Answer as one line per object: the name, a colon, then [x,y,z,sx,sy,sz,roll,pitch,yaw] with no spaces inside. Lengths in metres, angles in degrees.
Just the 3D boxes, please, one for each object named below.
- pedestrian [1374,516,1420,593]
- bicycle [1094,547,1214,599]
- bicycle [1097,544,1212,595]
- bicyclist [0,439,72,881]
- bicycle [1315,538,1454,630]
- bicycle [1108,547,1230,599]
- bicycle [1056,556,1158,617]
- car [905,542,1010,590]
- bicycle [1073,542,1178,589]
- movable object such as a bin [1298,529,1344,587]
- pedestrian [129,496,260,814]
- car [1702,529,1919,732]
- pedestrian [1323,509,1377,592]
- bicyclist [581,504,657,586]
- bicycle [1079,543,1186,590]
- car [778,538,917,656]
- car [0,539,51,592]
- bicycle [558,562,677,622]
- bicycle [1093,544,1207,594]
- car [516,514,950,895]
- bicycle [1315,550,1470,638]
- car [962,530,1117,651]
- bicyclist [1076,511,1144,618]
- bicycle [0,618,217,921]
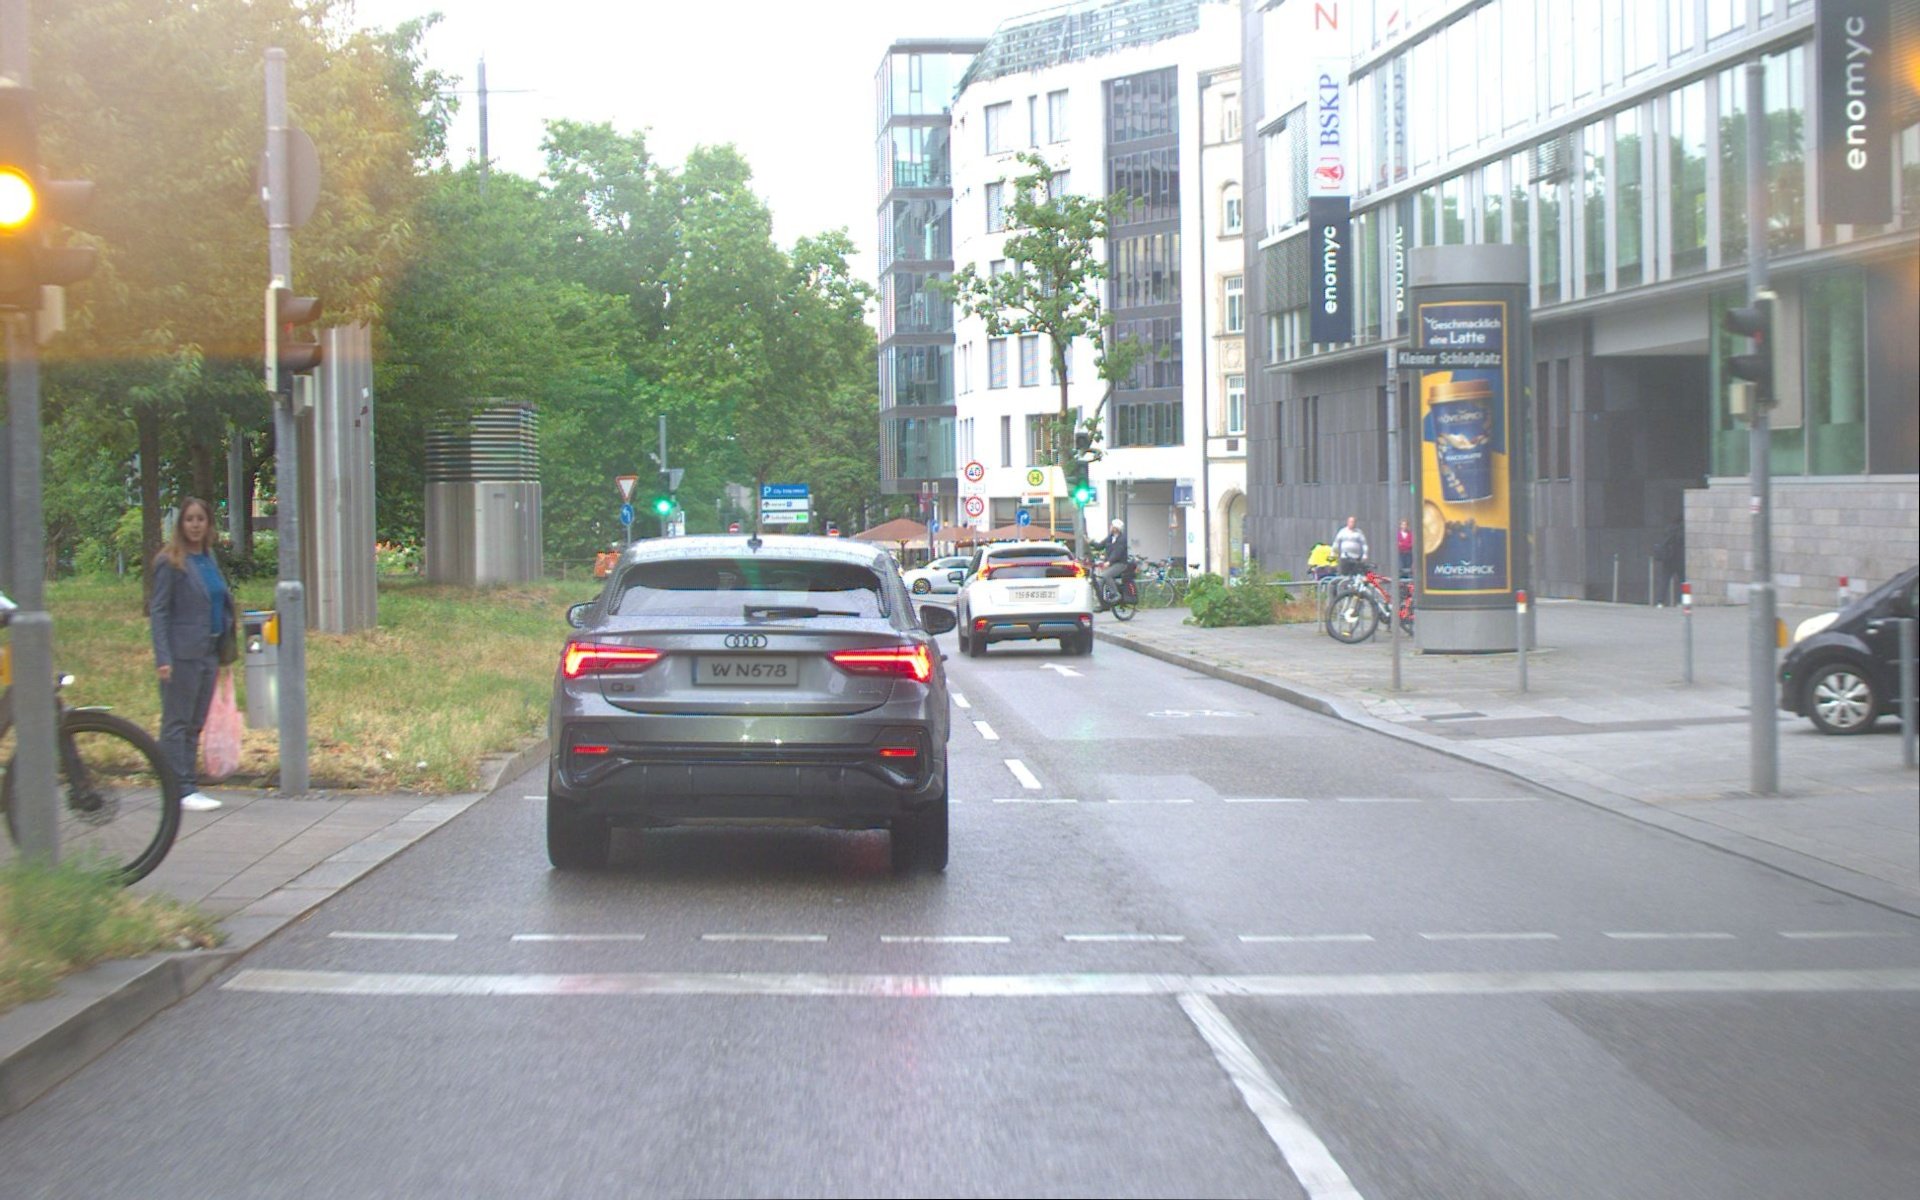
pedestrian: [9.780,-1.016,76.987,0.718,1.684,1.100,-4,1,-5]
bicycle: [4.277,-0.591,75.804,2.535,1.083,0.677,-1,1,-4]
bicycle: [4.441,-0.696,78.686,2.535,1.083,0.677,-2,1,-4]
bicyclist: [-4.285,0.217,13.950,1.076,1.743,0.812,2,0,1]
bicycle: [5.924,-0.227,48.053,1.836,1.193,0.660,-2,1,3]
bicycle: [4.512,-0.587,74.325,2.535,1.053,0.677,-2,1,-4]
bicycle: [2.922,-0.263,67.986,0.762,1.141,2.127,-1,1,44]
car: [-0.119,-1.340,134.410,3.987,1.641,2.000,3,1,0]
bicycle: [4.129,-0.859,85.928,2.535,1.083,0.677,-2,1,-4]
movable object such as a bin: [8.209,-0.963,78.230,0.731,1.259,1.445,-4,1,-3]
pedestrian: [-4.123,0.281,18.549,0.527,1.680,0.721,0,1,0]
car: [7.428,0.200,24.561,3.830,1.412,1.632,0,1,38]
pedestrian: [8.729,-1.112,76.920,0.900,1.786,1.047,-4,1,-5]
bicyclist: [-6.691,-1.082,67.523,1.133,1.577,1.014,2,1,20]
bicycle: [4.259,-0.838,85.038,2.535,1.083,0.677,-2,1,-4]
car: [-1.615,-0.079,50.506,1.945,1.641,4.245,-1,1,-1]
car: [-30.764,-1.132,111.760,1.945,1.695,4.001,-1,1,-9]
bicycle: [-6.720,-0.163,67.529,2.062,1.110,1.011,2,1,20]
bicycle: [4.380,-0.711,79.496,2.535,1.083,0.677,-2,1,-4]
car: [-0.979,0.395,16.831,1.848,1.610,4.253,0,2,0]
bicycle: [5.806,-0.080,46.201,1.984,1.100,0.808,-2,1,3]
car: [1.160,-0.172,50.812,2.179,1.695,4.000,-1,1,1]
bicyclist: [2.978,-0.709,68.072,0.762,2.076,1.082,-1,1,44]
bicycle: [-4.104,0.651,13.959,1.971,1.135,0.777,2,1,0]
